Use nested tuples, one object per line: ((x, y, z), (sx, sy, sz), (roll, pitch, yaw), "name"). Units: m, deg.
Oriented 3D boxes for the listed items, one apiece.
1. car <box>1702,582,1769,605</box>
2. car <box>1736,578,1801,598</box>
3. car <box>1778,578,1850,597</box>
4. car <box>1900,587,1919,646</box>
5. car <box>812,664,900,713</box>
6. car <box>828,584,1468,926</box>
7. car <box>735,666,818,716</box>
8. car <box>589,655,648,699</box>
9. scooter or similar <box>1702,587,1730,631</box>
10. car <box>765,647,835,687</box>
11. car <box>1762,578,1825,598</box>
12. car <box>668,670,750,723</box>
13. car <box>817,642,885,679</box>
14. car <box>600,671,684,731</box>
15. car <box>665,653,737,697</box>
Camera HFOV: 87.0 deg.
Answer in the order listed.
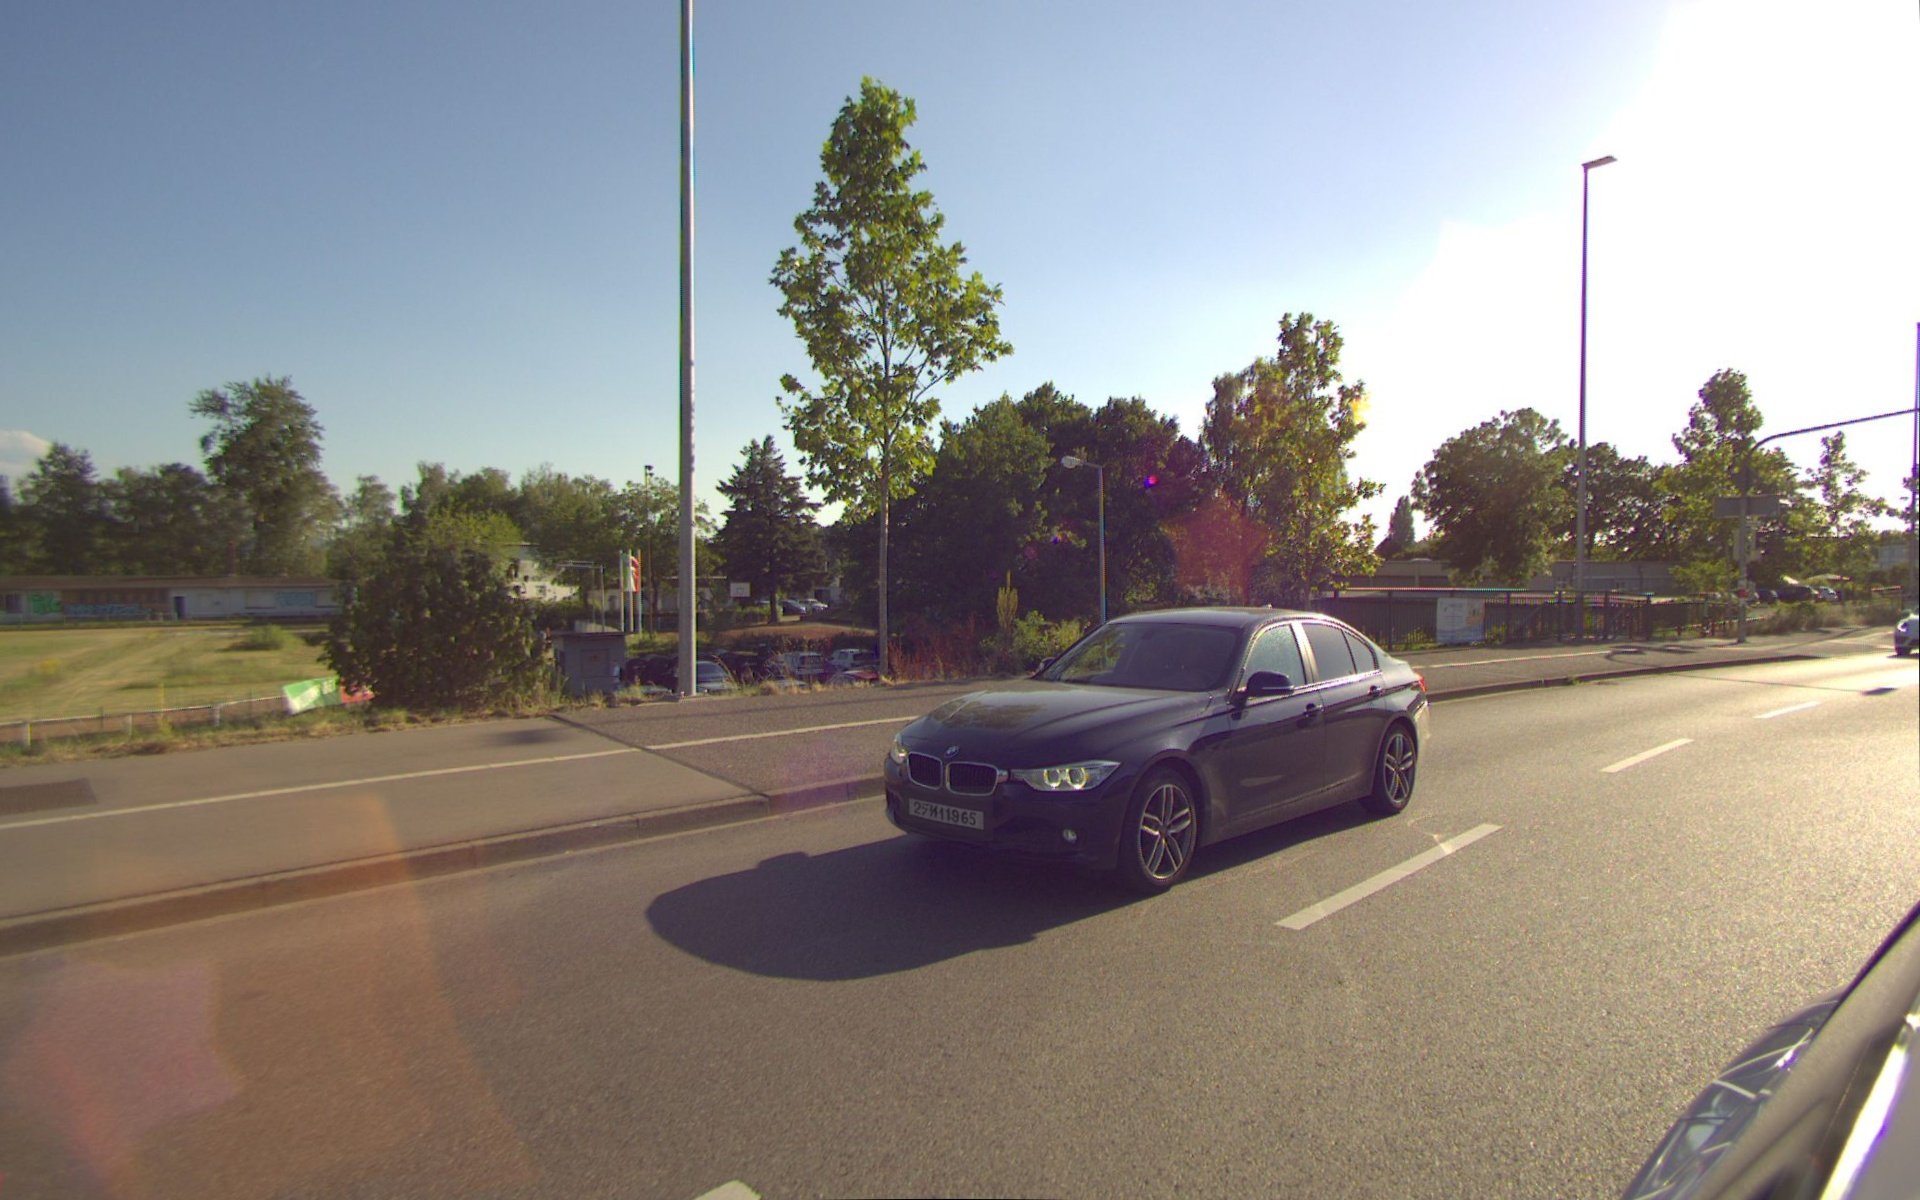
((61.886, -0.515, 80.811), (1.675, 1.687, 3.920), (-2, 0, -35), "car")
((68.383, -0.978, 85.655), (1.654, 1.606, 4.031), (-1, -1, -36), "car")
((76.725, -1.117, 90.998), (1.824, 1.589, 4.662), (-1, -1, -35), "car")
((25.339, 0.394, 25.311), (3.903, 1.441, 1.858), (-1, 1, -34), "car")
((-3.894, 3.224, 37.397), (1.635, 1.468, 3.705), (-2, 0, -34), "car")
((1.514, 0.665, 6.736), (4.509, 1.486, 1.868), (-1, 1, -43), "car")
((-6.582, 3.201, 36.074), (1.550, 1.466, 3.705), (-1, -1, -34), "car")
((-14.321, 3.173, 42.361), (1.550, 1.596, 3.519), (-1, -1, -32), "car")
((22.680, 0.256, 30.355), (0.523, 1.246, 1.247), (1, 2, 43), "scooter or similar")
((-7.307, 3.011, 45.957), (1.660, 1.590, 3.922), (-1, -1, -34), "car")
((72.649, -1.011, 88.250), (1.632, 1.661, 3.877), (-1, -1, -34), "car")
((-8.564, 3.227, 34.346), (1.550, 1.466, 3.705), (-1, -1, -34), "car")
((-5.174, 2.807, 47.565), (1.648, 1.520, 3.705), (-1, -1, -34), "car")
((-10.368, 3.219, 32.862), (1.550, 1.596, 3.922), (-1, -1, -34), "car")
((-11.017, 3.130, 42.924), (1.751, 1.596, 3.922), (-1, 0, -34), "car")
